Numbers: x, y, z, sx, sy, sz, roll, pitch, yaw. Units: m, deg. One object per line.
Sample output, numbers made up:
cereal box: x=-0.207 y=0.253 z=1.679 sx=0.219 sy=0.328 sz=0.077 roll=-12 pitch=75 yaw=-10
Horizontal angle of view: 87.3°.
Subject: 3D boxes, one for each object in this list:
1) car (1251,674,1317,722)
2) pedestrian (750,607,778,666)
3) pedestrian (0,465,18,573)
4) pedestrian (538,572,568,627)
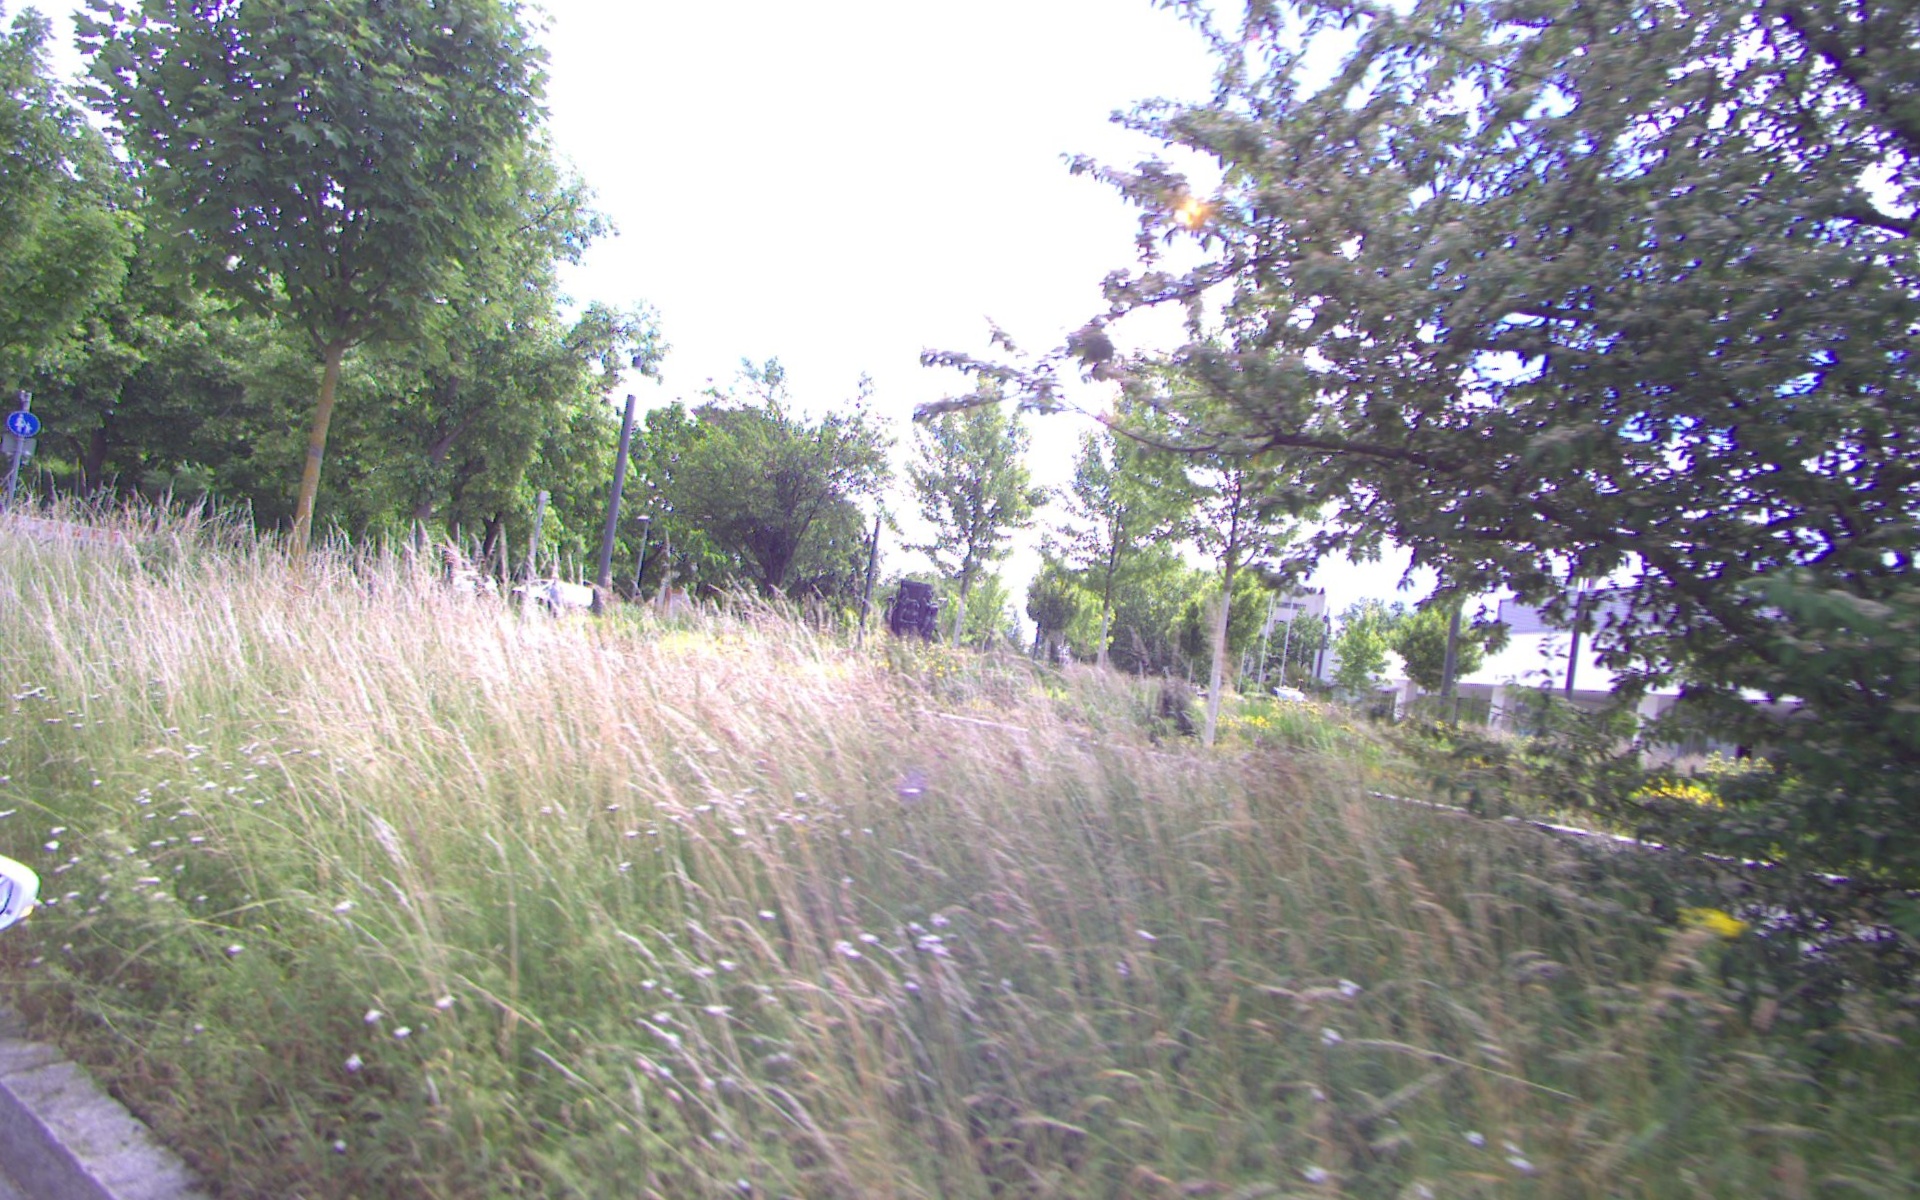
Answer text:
car: x=20.283 y=6.101 z=63.238 sx=2.406 sy=2.500 sz=4.794 roll=8 pitch=-3 yaw=2
pedestrian: x=-6.802 y=1.266 z=34.879 sx=0.399 sy=1.972 sz=0.577 roll=7 pitch=-2 yaw=31
pedestrian: x=-18.628 y=-1.579 z=19.193 sx=0.483 sy=2.036 sz=0.563 roll=7 pitch=-2 yaw=22
pedestrian: x=-13.653 y=-0.001 z=33.737 sx=0.567 sy=1.762 sz=0.488 roll=8 pitch=-2 yaw=-5
